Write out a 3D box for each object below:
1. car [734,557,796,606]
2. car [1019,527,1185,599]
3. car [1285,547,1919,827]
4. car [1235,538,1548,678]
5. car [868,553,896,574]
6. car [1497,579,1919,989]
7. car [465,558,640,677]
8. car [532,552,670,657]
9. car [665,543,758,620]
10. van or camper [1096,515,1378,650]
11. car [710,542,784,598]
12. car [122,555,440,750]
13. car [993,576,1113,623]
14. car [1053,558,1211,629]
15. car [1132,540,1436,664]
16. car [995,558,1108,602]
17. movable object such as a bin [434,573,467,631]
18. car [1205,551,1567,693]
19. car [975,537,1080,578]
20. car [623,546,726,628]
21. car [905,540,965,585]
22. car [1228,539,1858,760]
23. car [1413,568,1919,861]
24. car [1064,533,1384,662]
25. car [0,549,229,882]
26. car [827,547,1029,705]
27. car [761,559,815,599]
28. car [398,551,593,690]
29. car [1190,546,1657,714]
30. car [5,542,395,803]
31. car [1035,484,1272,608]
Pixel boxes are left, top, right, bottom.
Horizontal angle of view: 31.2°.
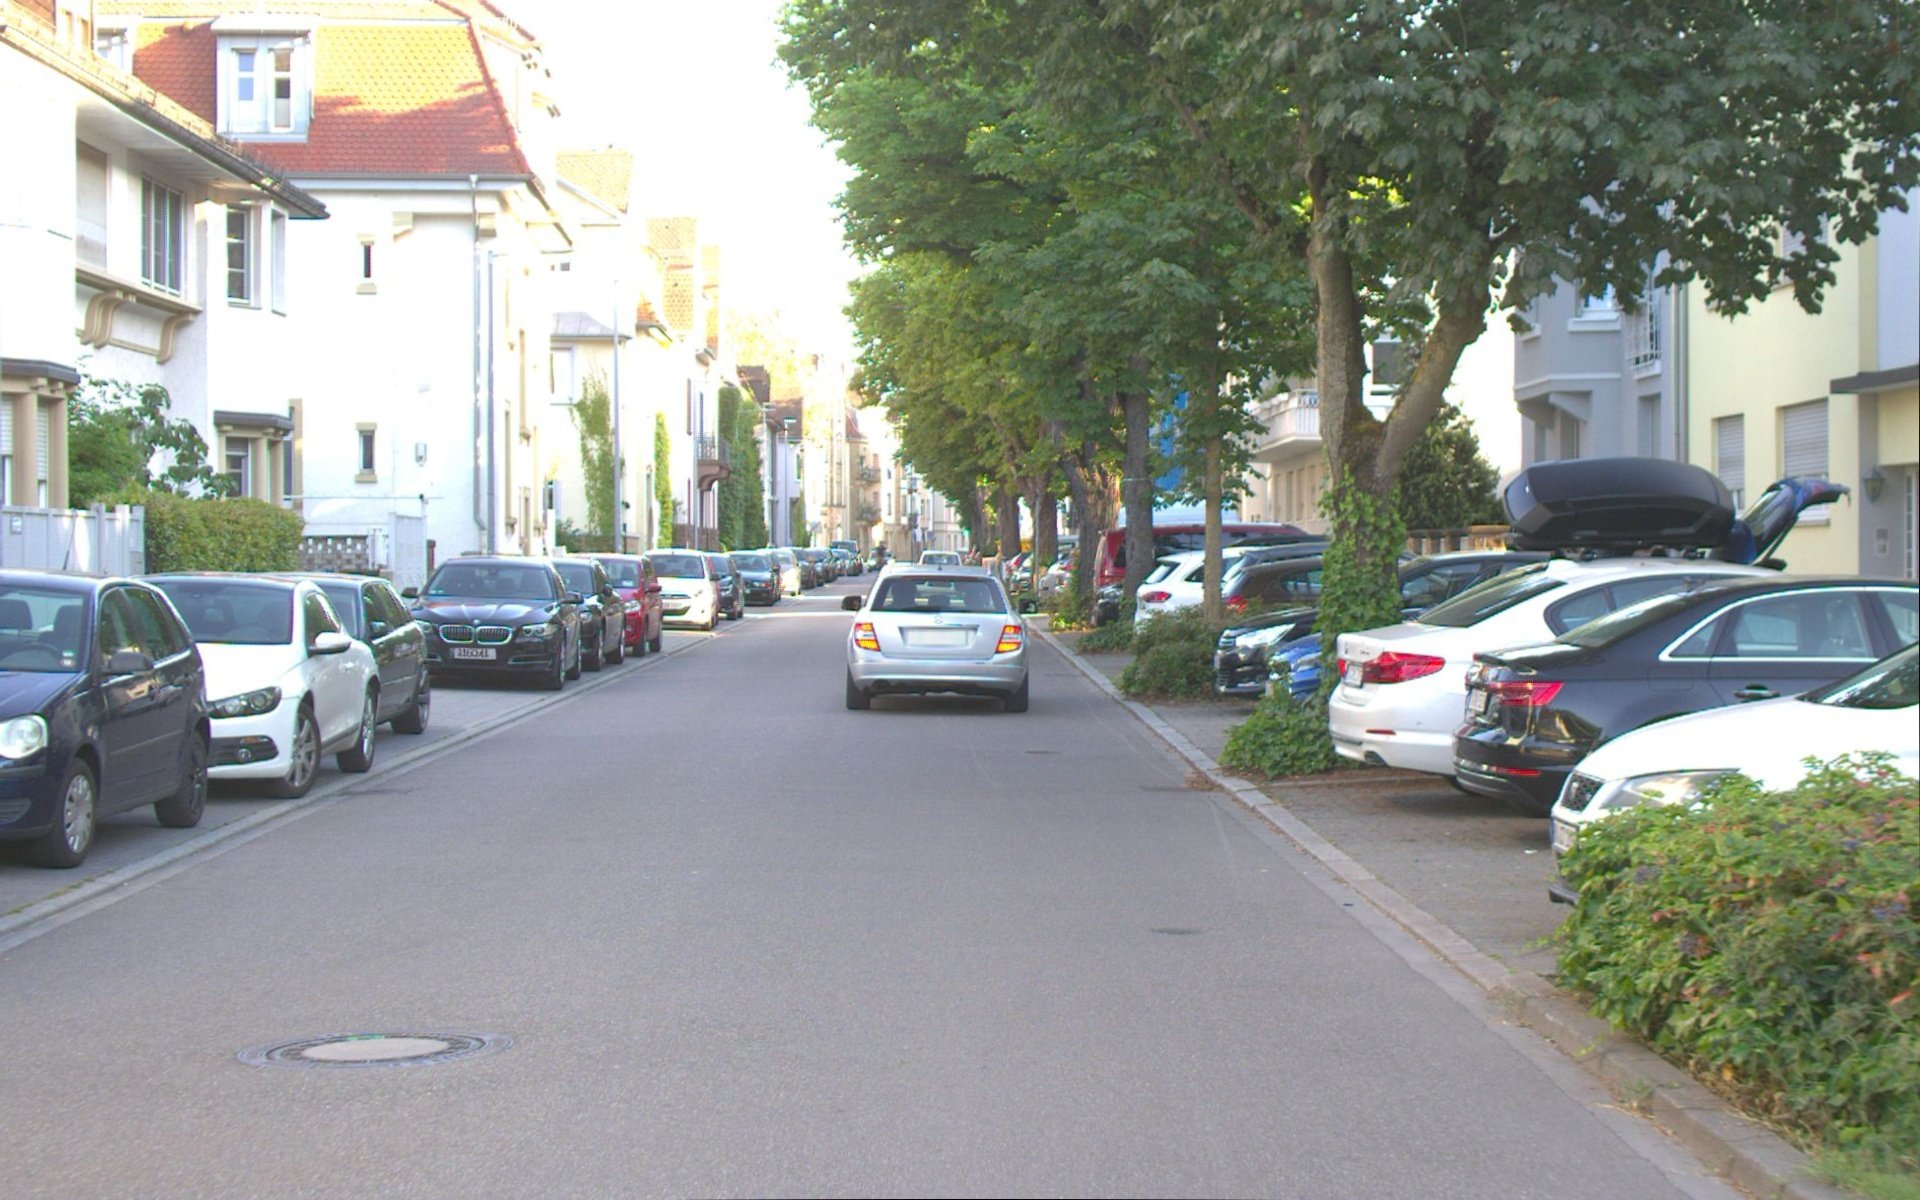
[{"bbox_3d":[-6.233,-0.600,110.135,1.799,1.477,3.857,1,1,0],"label":"car"},{"bbox_3d":[3.982,-1.046,96.972,4.518,2.007,2.251,0,1,-2],"label":"car"},{"bbox_3d":[4.395,0.481,21.050,4.476,1.520,1.954,-1,2,-6],"label":"car"},{"bbox_3d":[5.203,0.088,41.736,3.547,1.648,1.725,0,0,-1],"label":"car"},{"bbox_3d":[-5.266,-2.473,231.389,1.799,1.382,3.606,1,1,0],"label":"car"},{"bbox_3d":[4.319,0.671,13.657,4.048,1.500,1.862,0,0,-1],"label":"car"},{"bbox_3d":[-5.411,0.206,46.165,1.783,1.492,4.699,1,0,0],"label":"car"},{"bbox_3d":[-5.339,0.055,51.526,1.659,1.483,3.754,1,0,0],"label":"car"},{"bbox_3d":[-5.462,-0.428,75.990,1.799,1.639,3.857,1,1,0],"label":"car"},{"bbox_3d":[4.330,-0.286,54.253,4.313,2.007,2.000,1,1,3],"label":"van or camper"},{"bbox_3d":[-5.793,-0.837,93.793,1.799,1.477,3.857,1,1,0],"label":"car"},{"bbox_3d":[-5.442,0.385,28.037,1.758,1.442,4.142,1,0,0],"label":"car"},{"bbox_3d":[2.991,-0.021,110.843,3.844,1.477,1.805,0,1,1],"label":"car"},{"bbox_3d":[4.032,-0.157,80.940,3.594,1.654,1.650,0,1,-2],"label":"car"},{"bbox_3d":[4.142,0.014,44.342,3.730,1.553,1.725,0,0,-1],"label":"car"},{"bbox_3d":[3.144,-0.695,118.536,3.844,1.477,1.805,0,1,1],"label":"car"},{"bbox_3d":[-9.700,0.038,65.467,0.527,1.103,0.589,1,-1,0],"label":"movable object such as a bin"},{"bbox_3d":[4.788,0.233,38.987,3.925,1.553,1.725,0,1,2],"label":"car"},{"bbox_3d":[2.494,-1.576,126.963,3.844,1.477,1.805,0,1,1],"label":"car"},{"bbox_3d":[-5.447,-0.256,65.935,1.659,1.494,3.754,1,0,0],"label":"car"},{"bbox_3d":[-0.822,-1.243,115.163,1.817,1.468,4.216,0,0,2],"label":"car"},{"bbox_3d":[4.430,0.362,26.585,4.526,1.635,1.874,0,0,-1],"label":"car"},{"bbox_3d":[4.615,0.561,18.298,4.142,1.443,1.673,-1,0,-1],"label":"car"},{"bbox_3d":[3.934,-0.051,51.748,4.625,1.830,1.954,1,1,0],"label":"car"},{"bbox_3d":[-5.195,0.523,18.367,1.884,1.585,4.091,0,1,-3],"label":"car"},{"bbox_3d":[-0.259,0.251,34.380,1.817,1.468,4.216,0,0,2],"label":"car"},{"bbox_3d":[-6.188,-0.756,124.049,1.799,1.382,3.606,1,1,0],"label":"car"},{"bbox_3d":[-5.313,0.214,39.817,1.854,1.492,4.655,1,0,-3],"label":"car"},{"bbox_3d":[4.381,0.269,32.924,4.190,1.553,1.874,0,0,-1],"label":"car"},{"bbox_3d":[-4.986,0.425,23.098,1.884,1.585,4.091,0,1,-3],"label":"car"},{"bbox_3d":[4.689,-1.313,83.844,5.541,2.958,2.472,0,1,-2],"label":"car"}]
